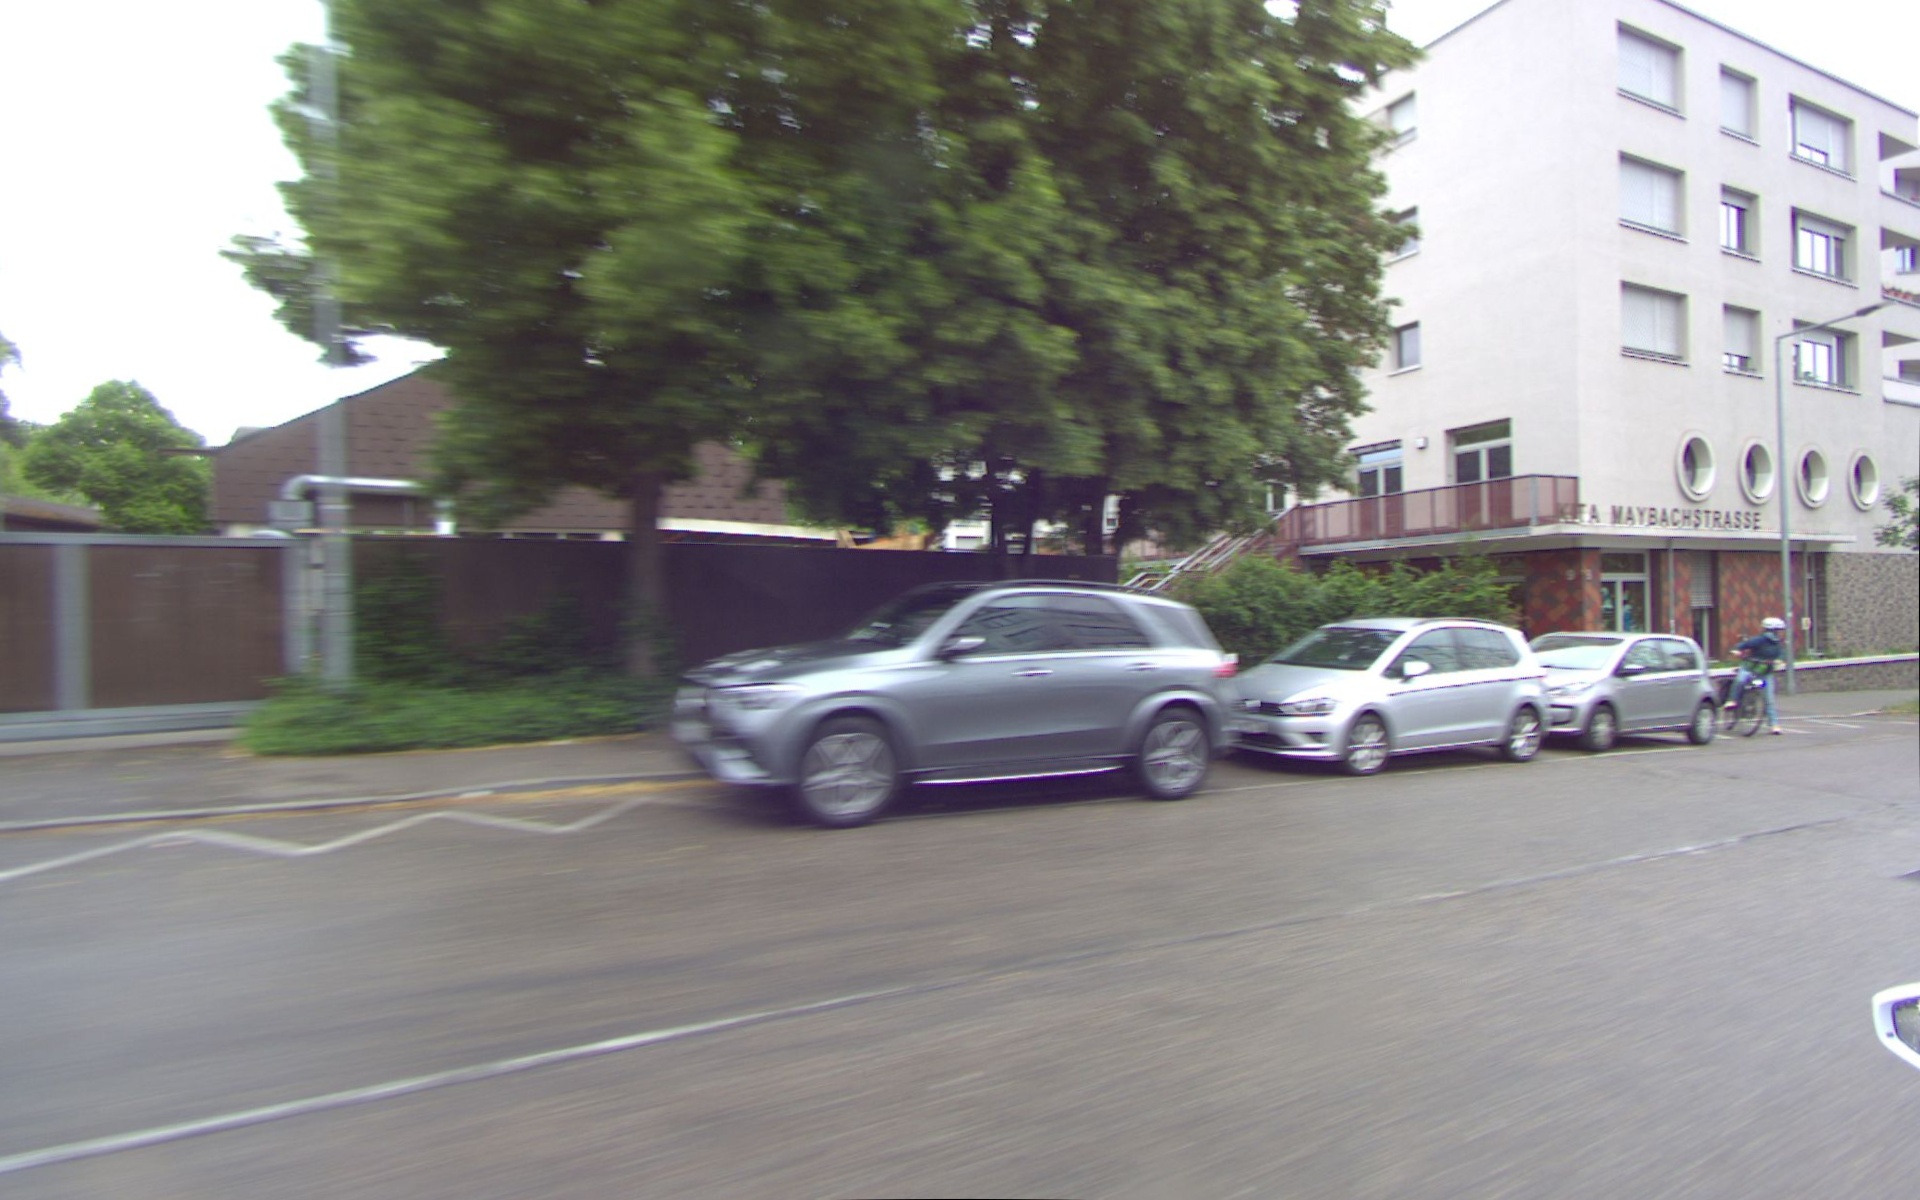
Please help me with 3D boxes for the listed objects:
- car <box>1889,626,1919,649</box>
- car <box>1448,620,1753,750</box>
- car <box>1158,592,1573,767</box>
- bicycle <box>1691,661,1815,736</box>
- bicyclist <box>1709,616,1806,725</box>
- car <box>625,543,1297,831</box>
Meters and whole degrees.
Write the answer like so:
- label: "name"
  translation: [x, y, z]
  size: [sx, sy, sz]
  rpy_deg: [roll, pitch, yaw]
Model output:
- label: "car"
  translation: [58.749, 2.322, 59.799]
  size: [1.967, 1.309, 4.687]
  rpy_deg: [2, 0, -15]
- label: "car"
  translation: [8.718, 1.086, 13.645]
  size: [3.800, 1.482, 1.871]
  rpy_deg: [2, 0, -28]
- label: "car"
  translation: [4.616, 0.811, 11.330]
  size: [4.435, 1.614, 1.981]
  rpy_deg: [2, 0, -29]
- label: "bicycle"
  translation: [11.873, 1.442, 15.013]
  size: [2.231, 0.992, 0.797]
  rpy_deg: [2, 0, -34]
- label: "bicyclist"
  translation: [11.977, 1.032, 15.081]
  size: [1.189, 1.543, 0.796]
  rpy_deg: [2, 0, -34]
- label: "car"
  translation: [0.135, 0.629, 8.466]
  size: [5.343, 1.810, 1.985]
  rpy_deg: [2, 0, -28]
